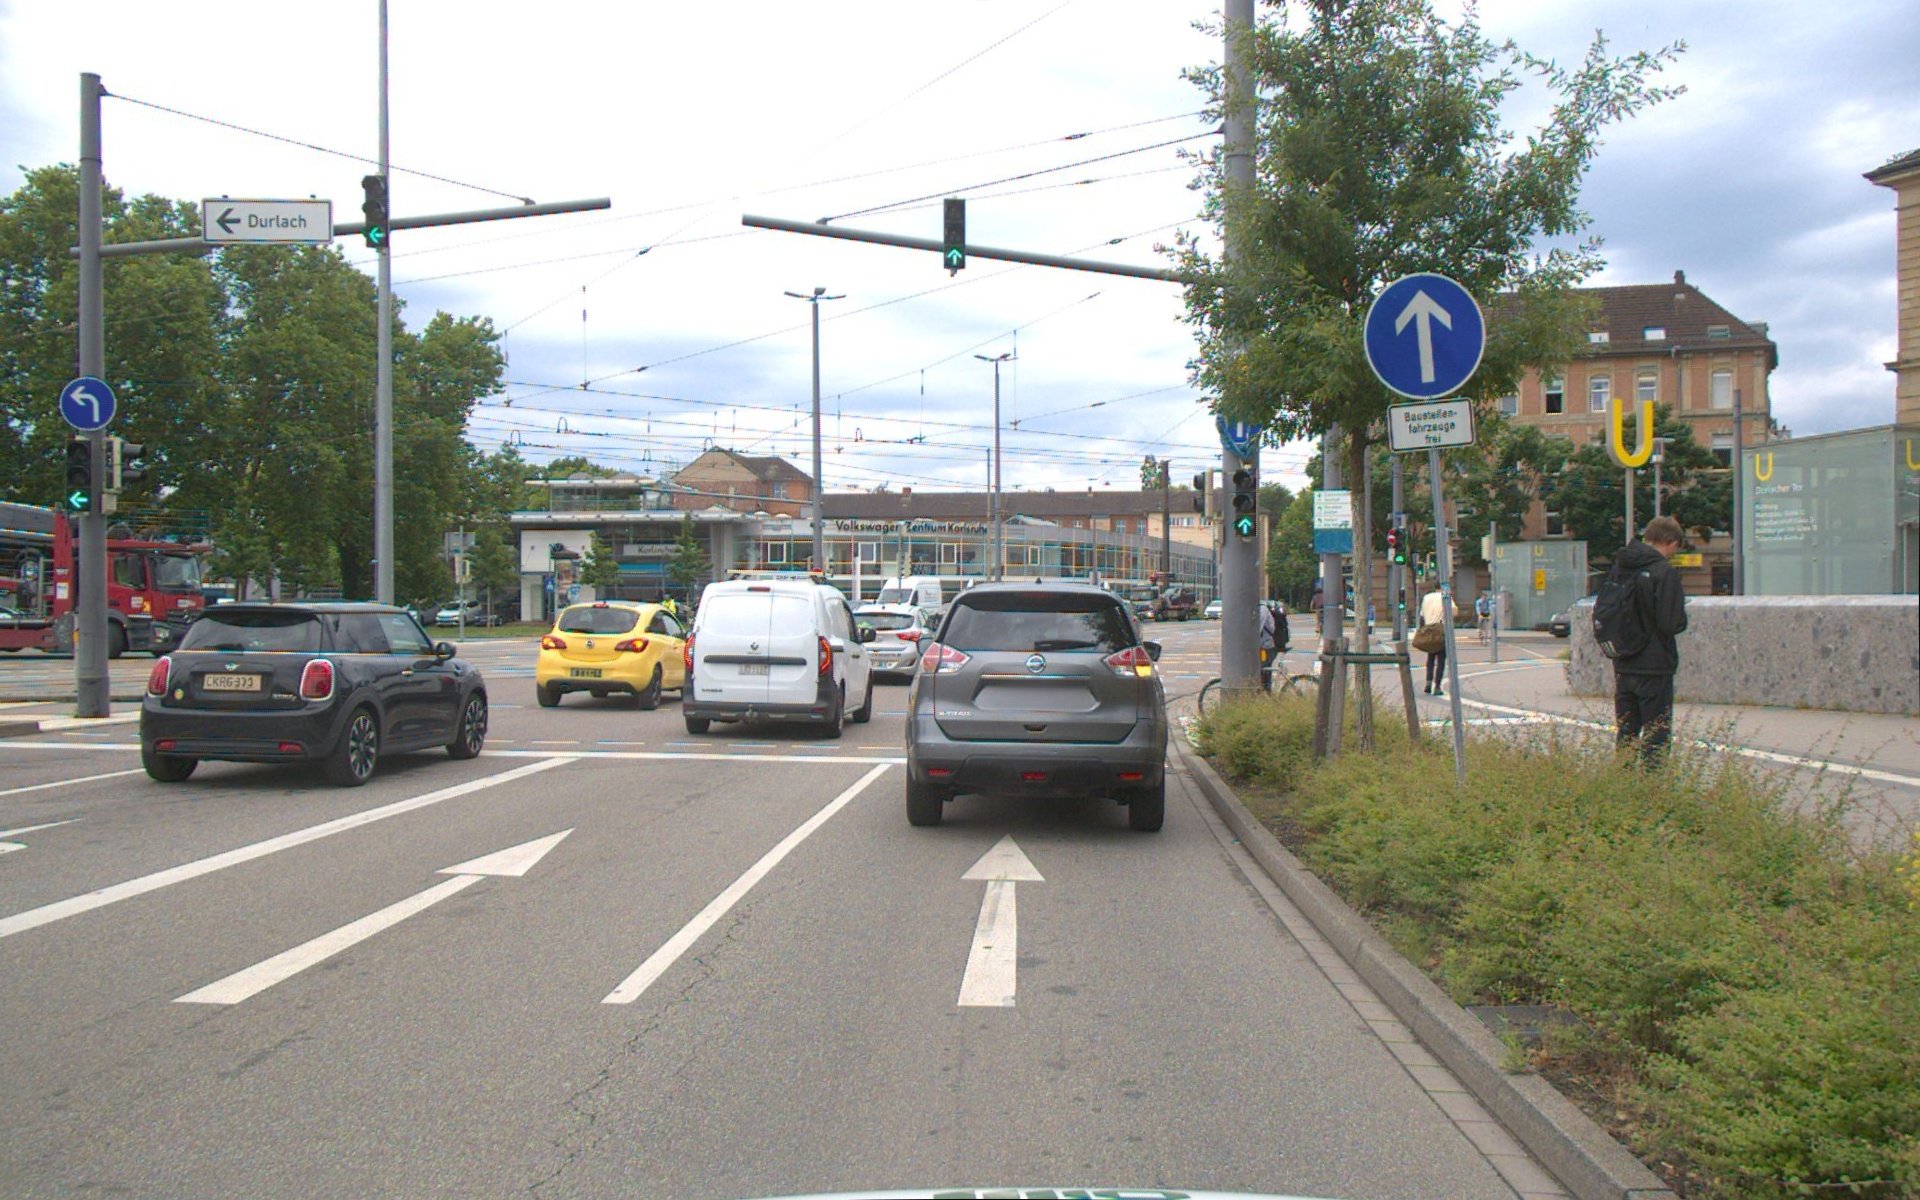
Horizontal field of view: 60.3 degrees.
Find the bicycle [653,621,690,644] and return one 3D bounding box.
[{"bbox_3d":[-12.737,1.423,73.111,0.508,0.946,2.223,0,0,22],"label":"bicycle"}]

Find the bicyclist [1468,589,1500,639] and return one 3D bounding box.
[{"bbox_3d":[17.209,0.460,54.302,0.679,1.587,0.922,-2,0,37],"label":"bicyclist"}]

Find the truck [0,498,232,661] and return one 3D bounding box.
[{"bbox_3d":[-24.599,-0.565,43.032,10.200,3.989,3.017,1,0,8],"label":"truck"}]

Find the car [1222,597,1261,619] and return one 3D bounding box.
[{"bbox_3d":[24.371,0.687,143.151,1.956,1.871,4.515,0,0,29],"label":"car"}]

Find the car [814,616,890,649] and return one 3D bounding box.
[{"bbox_3d":[-4.937,1.482,76.440,1.951,1.445,4.664,0,0,17],"label":"car"}]

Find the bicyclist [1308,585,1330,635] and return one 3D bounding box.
[{"bbox_3d":[12.725,0.348,58.610,0.673,1.738,0.799,0,0,6],"label":"bicyclist"}]

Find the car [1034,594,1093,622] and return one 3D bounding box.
[{"bbox_3d":[7.153,0.539,113.910,2.115,1.889,5.441,0,0,27],"label":"car"}]

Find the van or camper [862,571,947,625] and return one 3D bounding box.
[{"bbox_3d":[-2.777,-0.092,84.707,2.364,2.656,6.054,1,0,18],"label":"van or camper"}]

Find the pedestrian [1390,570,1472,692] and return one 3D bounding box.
[{"bbox_3d":[7.518,0.482,26.377,0.870,1.900,1.281,-1,-1,37],"label":"pedestrian"}]

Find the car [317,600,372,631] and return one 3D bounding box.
[{"bbox_3d":[-42.810,1.079,115.092,1.951,2.049,4.003,1,0,6],"label":"car"}]

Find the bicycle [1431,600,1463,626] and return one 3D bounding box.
[{"bbox_3d":[26.372,0.709,89.504,0.940,1.378,3.113,1,0,31],"label":"bicycle"}]

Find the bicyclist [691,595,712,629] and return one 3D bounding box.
[{"bbox_3d":[-11.840,0.547,75.691,0.554,1.534,0.857,0,1,22],"label":"bicyclist"}]

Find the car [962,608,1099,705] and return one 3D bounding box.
[{"bbox_3d":[1.222,0.859,26.961,1.951,1.445,4.003,0,0,6],"label":"car"}]

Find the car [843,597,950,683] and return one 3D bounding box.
[{"bbox_3d":[-1.164,0.732,32.054,1.815,1.534,4.000,1,0,1],"label":"car"}]

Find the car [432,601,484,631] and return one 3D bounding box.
[{"bbox_3d":[-34.694,1.092,114.394,1.951,2.049,4.003,1,0,6],"label":"car"}]

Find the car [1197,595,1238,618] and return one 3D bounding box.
[{"bbox_3d":[21.424,0.496,137.383,1.956,1.871,4.515,0,0,29],"label":"car"}]

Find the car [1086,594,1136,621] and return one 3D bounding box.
[{"bbox_3d":[11.036,0.532,120.827,1.956,1.871,4.515,0,0,29],"label":"car"}]

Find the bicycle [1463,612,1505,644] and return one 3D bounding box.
[{"bbox_3d":[17.192,0.906,54.256,0.660,0.949,1.851,-4,-1,38],"label":"bicycle"}]

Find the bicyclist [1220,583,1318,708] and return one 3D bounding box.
[{"bbox_3d":[3.889,0.565,20.890,1.075,1.547,0.760,0,0,-1],"label":"bicyclist"}]

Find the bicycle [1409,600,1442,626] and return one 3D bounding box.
[{"bbox_3d":[25.345,0.734,89.998,0.940,1.378,3.113,1,0,31],"label":"bicycle"}]

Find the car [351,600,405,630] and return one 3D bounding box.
[{"bbox_3d":[-40.228,1.024,114.483,1.951,2.049,4.003,1,0,6],"label":"car"}]

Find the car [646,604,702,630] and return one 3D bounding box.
[{"bbox_3d":[-16.641,0.985,96.364,1.601,1.445,3.738,0,0,20],"label":"car"}]

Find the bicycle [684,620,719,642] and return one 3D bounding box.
[{"bbox_3d":[-11.843,1.424,75.735,0.508,0.942,2.223,0,0,22],"label":"bicycle"}]

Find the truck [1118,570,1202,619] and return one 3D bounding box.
[{"bbox_3d":[15.558,-0.392,128.161,2.744,3.611,9.197,1,0,33],"label":"truck"}]

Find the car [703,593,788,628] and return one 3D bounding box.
[{"bbox_3d":[-13.126,0.637,101.108,4.666,2.049,2.122,1,0,18],"label":"car"}]

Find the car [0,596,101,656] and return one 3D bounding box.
[{"bbox_3d":[-32.348,0.891,57.833,3.935,2.049,1.985,1,0,-24],"label":"car"}]

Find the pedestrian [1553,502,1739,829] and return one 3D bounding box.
[{"bbox_3d":[4.329,0.392,10.451,0.862,1.962,0.717,0,-1,-31],"label":"pedestrian"}]

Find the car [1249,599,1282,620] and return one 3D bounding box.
[{"bbox_3d":[27.823,0.842,150.608,1.954,1.871,4.520,0,0,25],"label":"car"}]

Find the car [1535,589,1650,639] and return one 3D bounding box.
[{"bbox_3d":[25.040,0.533,65.478,4.313,1.933,1.682,0,0,-23],"label":"car"}]

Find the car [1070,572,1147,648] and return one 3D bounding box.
[{"bbox_3d":[4.185,0.292,47.248,1.952,2.049,4.001,1,0,2],"label":"car"}]

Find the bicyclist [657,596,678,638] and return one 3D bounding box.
[{"bbox_3d":[-12.868,0.735,72.792,0.615,1.835,0.797,0,0,22],"label":"bicyclist"}]

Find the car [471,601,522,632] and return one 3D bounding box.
[{"bbox_3d":[-31.929,1.138,114.051,1.951,2.049,4.003,1,0,6],"label":"car"}]

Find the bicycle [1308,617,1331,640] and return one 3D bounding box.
[{"bbox_3d":[12.727,1.005,58.565,0.606,0.807,1.593,0,0,6],"label":"bicycle"}]

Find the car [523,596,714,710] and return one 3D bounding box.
[{"bbox_3d":[-4.972,0.724,24.634,1.779,1.520,4.002,1,0,3],"label":"car"}]

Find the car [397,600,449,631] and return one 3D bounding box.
[{"bbox_3d":[-37.158,1.058,114.547,1.951,2.049,4.003,1,0,6],"label":"car"}]

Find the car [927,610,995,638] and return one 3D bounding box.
[{"bbox_3d":[0.117,1.297,91.471,1.954,1.445,4.798,0,0,25],"label":"car"}]

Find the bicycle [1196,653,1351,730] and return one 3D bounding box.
[{"bbox_3d":[3.939,1.143,20.880,1.784,0.854,0.767,-2,0,-2],"label":"bicycle"}]

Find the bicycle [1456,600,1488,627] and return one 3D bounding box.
[{"bbox_3d":[27.538,0.727,88.964,0.940,1.378,3.113,1,0,31],"label":"bicycle"}]

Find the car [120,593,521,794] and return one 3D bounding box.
[{"bbox_3d":[-5.299,0.700,14.326,1.732,1.494,4.002,0,0,3],"label":"car"}]

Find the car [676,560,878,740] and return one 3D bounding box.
[{"bbox_3d":[-2.113,0.549,20.223,1.873,1.974,4.132,0,0,2],"label":"car"}]

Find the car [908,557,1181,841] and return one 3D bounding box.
[{"bbox_3d":[0.631,0.662,12.481,1.713,1.786,3.925,-1,-1,3],"label":"car"}]
